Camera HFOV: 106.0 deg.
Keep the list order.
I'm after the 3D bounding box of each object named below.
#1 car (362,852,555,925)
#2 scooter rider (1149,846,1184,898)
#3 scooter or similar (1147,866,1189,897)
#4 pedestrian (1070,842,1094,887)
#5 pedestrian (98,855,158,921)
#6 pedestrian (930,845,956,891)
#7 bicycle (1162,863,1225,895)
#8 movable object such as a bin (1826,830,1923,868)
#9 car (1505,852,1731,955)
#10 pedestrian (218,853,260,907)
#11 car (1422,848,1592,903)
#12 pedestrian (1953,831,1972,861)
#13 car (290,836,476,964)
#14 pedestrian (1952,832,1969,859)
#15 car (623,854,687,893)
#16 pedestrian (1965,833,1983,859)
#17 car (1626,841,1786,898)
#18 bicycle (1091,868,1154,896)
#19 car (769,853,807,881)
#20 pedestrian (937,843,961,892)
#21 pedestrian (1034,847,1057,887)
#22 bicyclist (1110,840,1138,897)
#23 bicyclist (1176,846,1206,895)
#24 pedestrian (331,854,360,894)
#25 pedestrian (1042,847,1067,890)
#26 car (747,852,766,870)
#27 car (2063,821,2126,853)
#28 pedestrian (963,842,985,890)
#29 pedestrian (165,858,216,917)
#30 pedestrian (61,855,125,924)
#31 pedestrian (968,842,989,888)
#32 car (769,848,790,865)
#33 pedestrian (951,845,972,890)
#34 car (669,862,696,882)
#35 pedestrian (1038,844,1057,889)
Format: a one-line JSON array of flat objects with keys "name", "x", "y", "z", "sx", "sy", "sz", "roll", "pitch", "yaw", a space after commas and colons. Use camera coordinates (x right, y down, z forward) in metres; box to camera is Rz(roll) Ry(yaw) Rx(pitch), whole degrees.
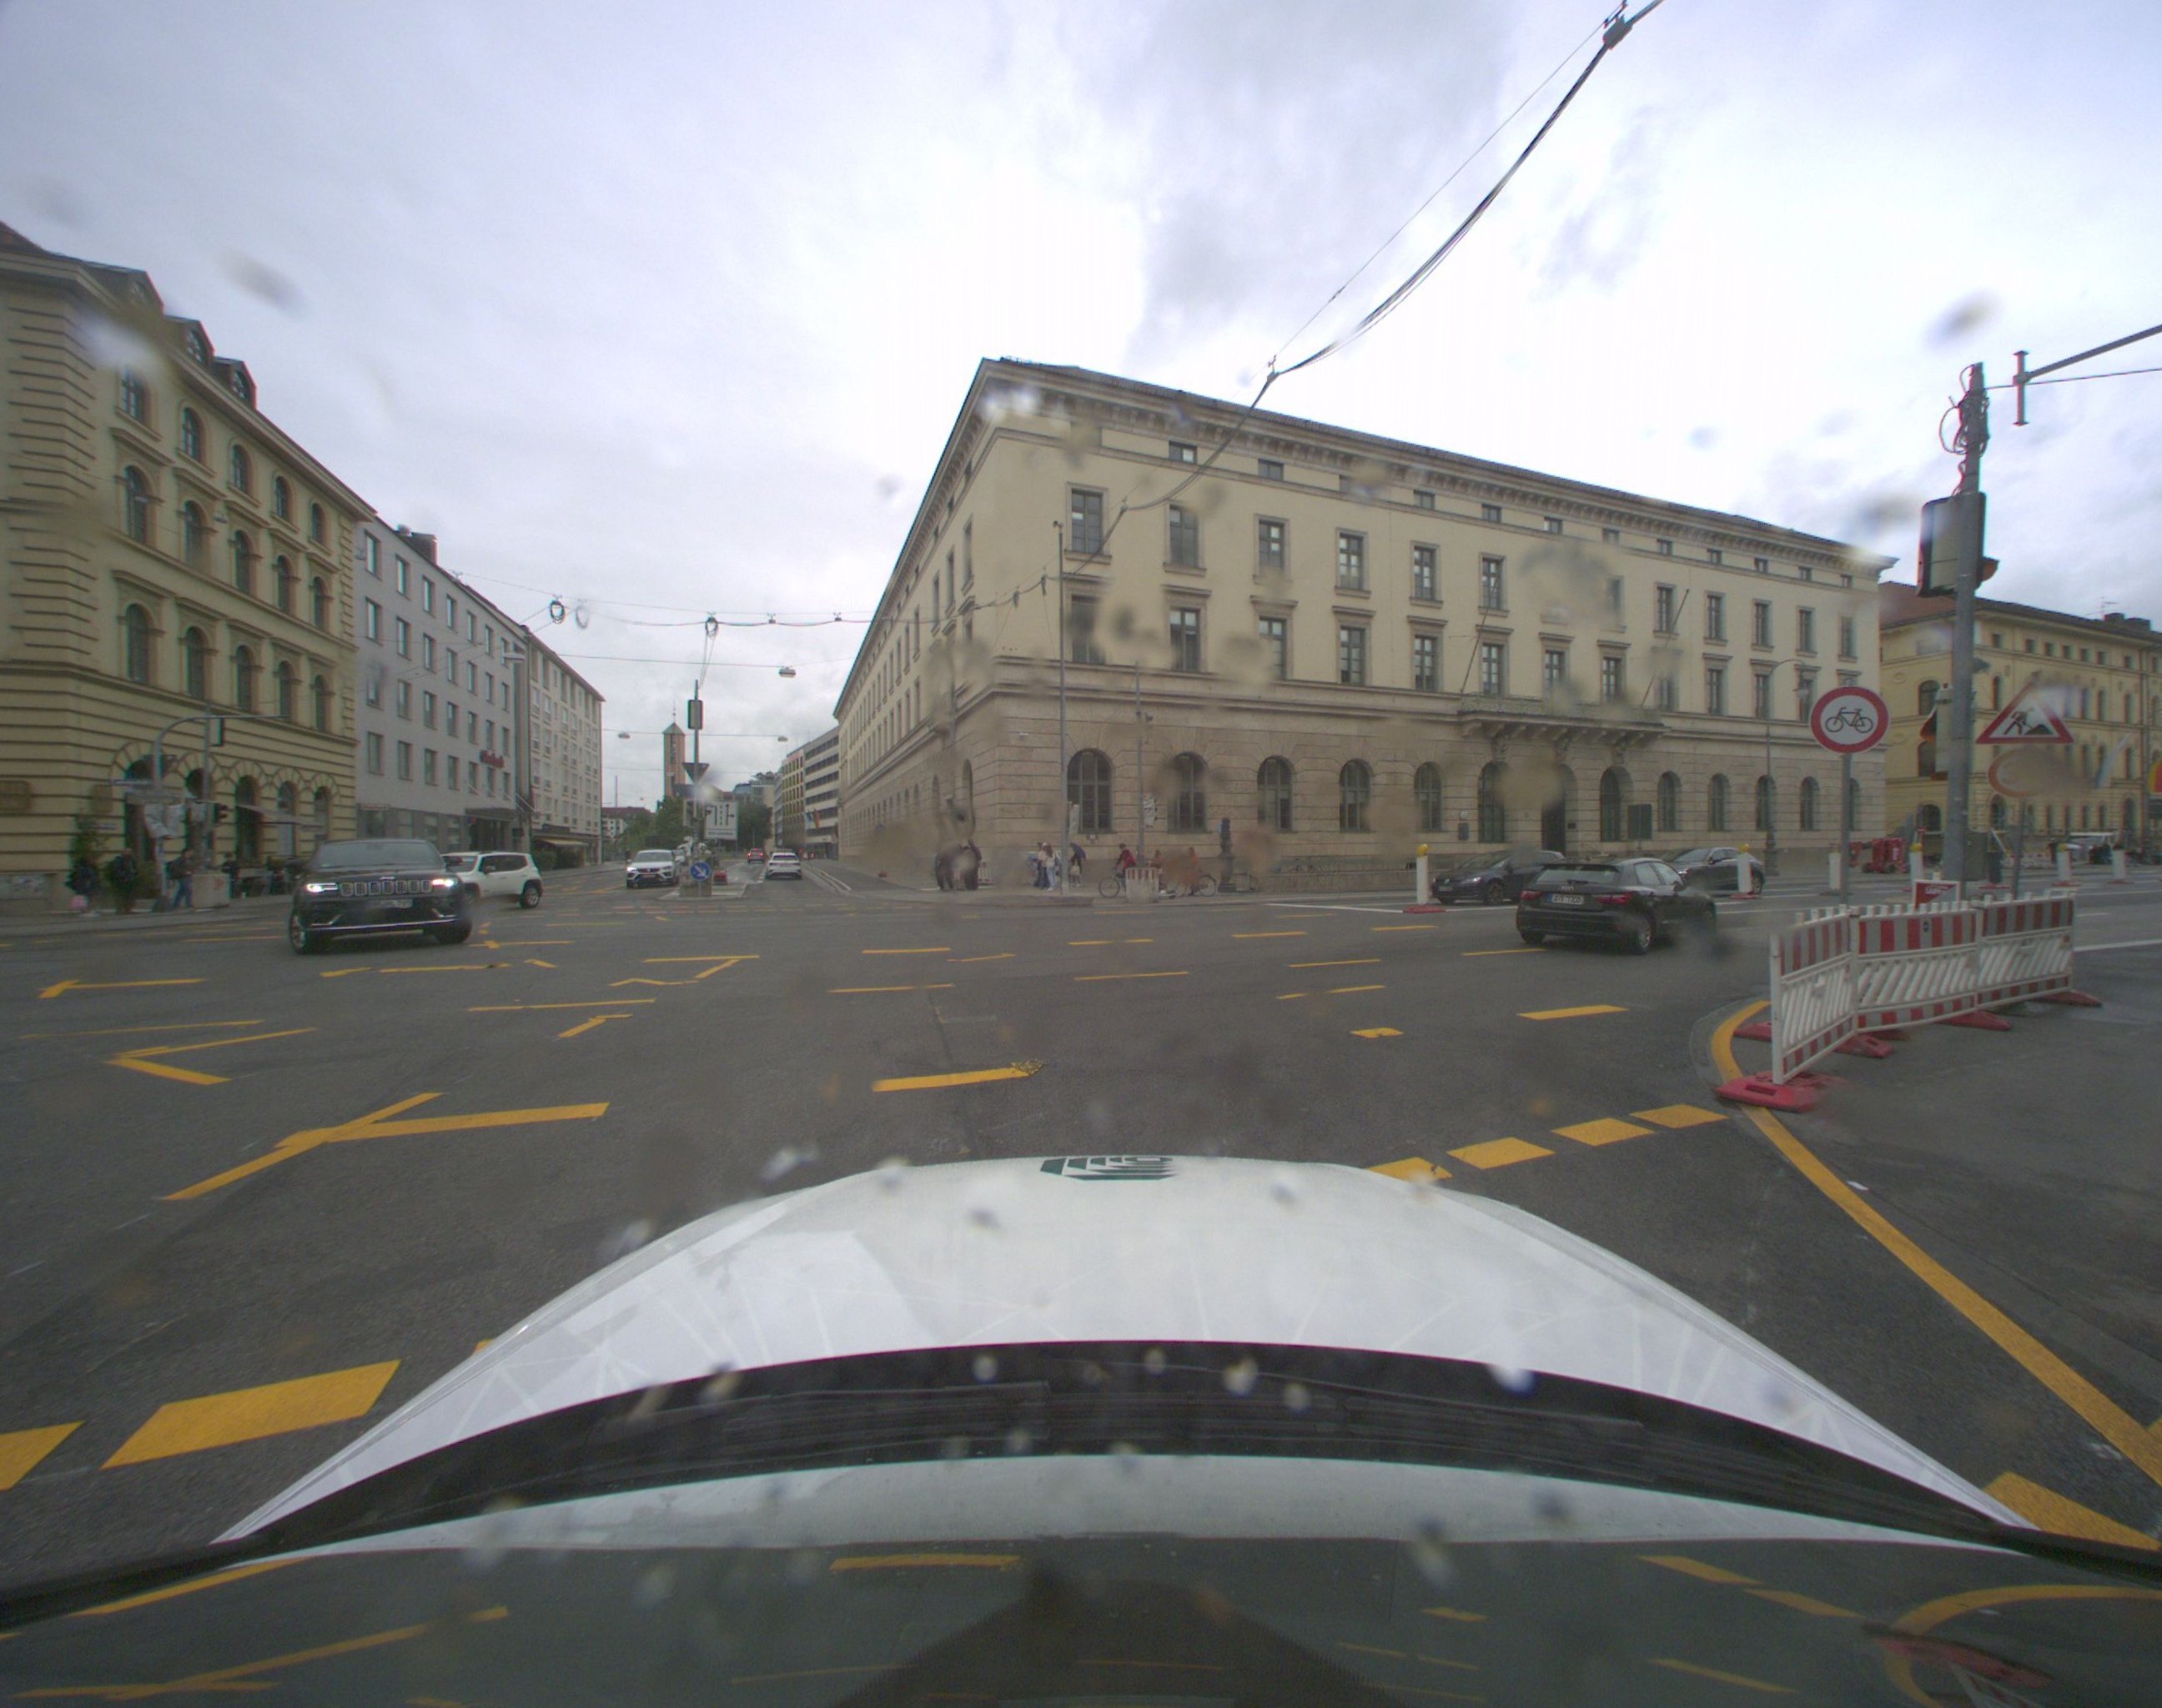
[{"name": "car", "x": -16.330, "y": 0.829, "z": 21.692, "sx": 1.787, "sy": 1.677, "sz": 4.234, "roll": -1, "pitch": 1, "yaw": 1}, {"name": "scooter rider", "x": 2.733, "y": 0.568, "z": 26.059, "sx": 0.935, "sy": 1.622, "sz": 0.588, "roll": 0, "pitch": 0, "yaw": -20}, {"name": "scooter or similar", "x": 2.770, "y": 0.883, "z": 26.078, "sx": 1.215, "sy": 0.965, "sz": 0.584, "roll": 0, "pitch": 0, "yaw": -20}, {"name": "pedestrian", "x": 0.045, "y": 0.396, "z": 31.594, "sx": 0.717, "sy": 1.694, "sz": 0.814, "roll": 0, "pitch": 0, "yaw": -20}, {"name": "pedestrian", "x": -25.918, "y": 0.910, "z": 22.154, "sx": 0.731, "sy": 1.772, "sz": 0.739, "roll": 0, "pitch": 0, "yaw": 0}, {"name": "pedestrian", "x": -5.269, "y": 0.527, "z": 31.140, "sx": 0.578, "sy": 1.755, "sz": 0.825, "roll": 0, "pitch": 0, "yaw": 38}, {"name": "bicycle", "x": 3.804, "y": 0.828, "z": 27.529, "sx": 1.964, "sy": 1.040, "sz": 0.790, "roll": 0, "pitch": 0, "yaw": -19}, {"name": "movable object such as a bin", "x": 43.911, "y": -0.270, "z": 45.051, "sx": 5.977, "sy": 2.013, "sz": 1.505, "roll": 0, "pitch": 0, "yaw": -21}, {"name": "car", "x": 8.737, "y": 0.679, "z": 13.147, "sx": 4.018, "sy": 1.388, "sz": 1.848, "roll": 0, "pitch": 1, "yaw": -37}, {"name": "pedestrian", "x": -28.139, "y": 0.850, "z": 27.223, "sx": 0.739, "sy": 1.772, "sz": 0.731, "roll": 0, "pitch": 0, "yaw": -22}, {"name": "car", "x": 11.518, "y": 0.544, "z": 22.017, "sx": 4.243, "sy": 1.388, "sz": 1.737, "roll": 0, "pitch": -1, "yaw": -22}, {"name": "pedestrian", "x": 57.933, "y": -0.540, "z": 53.531, "sx": 0.653, "sy": 1.931, "sz": 0.676, "roll": 0, "pitch": 0, "yaw": -24}, {"name": "car", "x": -11.555, "y": 0.618, "z": 13.441, "sx": 2.012, "sy": 1.734, "sz": 4.529, "roll": -2, "pitch": 1, "yaw": -43}, {"name": "pedestrian", "x": 55.560, "y": -0.529, "z": 51.449, "sx": 0.618, "sy": 1.676, "sz": 0.550, "roll": 0, "pitch": 0, "yaw": -24}, {"name": "car", "x": -18.371, "y": 0.800, "z": 35.286, "sx": 2.001, "sy": 1.524, "sz": 4.202, "roll": -1, "pitch": 1, "yaw": -22}, {"name": "pedestrian", "x": 55.813, "y": -0.498, "z": 50.920, "sx": 0.618, "sy": 1.652, "sz": 0.609, "roll": 0, "pitch": 0, "yaw": -24}, {"name": "car", "x": 19.127, "y": 0.454, "z": 24.926, "sx": 4.579, "sy": 1.567, "sz": 1.778, "roll": -1, "pitch": -2, "yaw": -22}, {"name": "bicycle", "x": 1.381, "y": 0.926, "z": 26.913, "sx": 1.978, "sy": 0.879, "sz": 0.657, "roll": 0, "pitch": 0, "yaw": -19}, {"name": "car", "x": -16.094, "y": 0.654, "z": 44.583, "sx": 1.820, "sy": 1.424, "sz": 4.420, "roll": 0, "pitch": 0, "yaw": -22}, {"name": "pedestrian", "x": -4.814, "y": 0.486, "z": 29.745, "sx": 0.816, "sy": 1.755, "sz": 0.678, "roll": 0, "pitch": 0, "yaw": -5}, {"name": "pedestrian", "x": -1.396, "y": 0.498, "z": 31.721, "sx": 0.667, "sy": 1.527, "sz": 0.814, "roll": 0, "pitch": 0, "yaw": -20}, {"name": "bicyclist", "x": 1.418, "y": 0.471, "z": 26.921, "sx": 0.746, "sy": 1.842, "sz": 0.656, "roll": 0, "pitch": 0, "yaw": -19}, {"name": "bicyclist", "x": 3.716, "y": 0.543, "z": 27.497, "sx": 0.746, "sy": 1.615, "sz": 0.790, "roll": 0, "pitch": 0, "yaw": -19}, {"name": "pedestrian", "x": -33.008, "y": 0.885, "z": 36.558, "sx": 0.739, "sy": 1.772, "sz": 0.731, "roll": 0, "pitch": 0, "yaw": -22}, {"name": "pedestrian", "x": -0.973, "y": 0.518, "z": 29.807, "sx": 0.818, "sy": 1.557, "sz": 0.664, "roll": 0, "pitch": 0, "yaw": -14}, {"name": "car", "x": -37.569, "y": 0.747, "z": 94.298, "sx": 2.001, "sy": 2.013, "sz": 3.971, "roll": -1, "pitch": 1, "yaw": -22}, {"name": "car", "x": 74.040, "y": -1.203, "z": 59.476, "sx": 4.001, "sy": 2.288, "sz": 1.732, "roll": 0, "pitch": 0, "yaw": -21}, {"name": "pedestrian", "x": -3.995, "y": 0.437, "z": 30.453, "sx": 0.580, "sy": 1.755, "sz": 0.822, "roll": 0, "pitch": 0, "yaw": 10}, {"name": "pedestrian", "x": -27.256, "y": 1.013, "z": 24.948, "sx": 0.736, "sy": 1.772, "sz": 0.734, "roll": 0, "pitch": 0, "yaw": -7}, {"name": "pedestrian", "x": -25.919, "y": 0.919, "z": 21.372, "sx": 0.731, "sy": 1.772, "sz": 0.760, "roll": 0, "pitch": 0, "yaw": 0}, {"name": "pedestrian", "x": -3.922, "y": 0.404, "z": 31.255, "sx": 0.580, "sy": 1.755, "sz": 0.822, "roll": 0, "pitch": 0, "yaw": 10}, {"name": "car", "x": -29.959, "y": 0.271, "z": 80.839, "sx": 1.872, "sy": 1.601, "sz": 3.823, "roll": -1, "pitch": 1, "yaw": -22}, {"name": "pedestrian", "x": -4.687, "y": 0.510, "z": 31.975, "sx": 0.816, "sy": 1.755, "sz": 0.584, "roll": 0, "pitch": 0, "yaw": -7}, {"name": "car", "x": -39.186, "y": 1.753, "z": 80.081, "sx": 2.001, "sy": 1.734, "sz": 4.202, "roll": -1, "pitch": 1, "yaw": -21}, {"name": "pedestrian", "x": -1.249, "y": 0.448, "z": 30.499, "sx": 0.616, "sy": 1.671, "sz": 0.539, "roll": 0, "pitch": 0, "yaw": -14}]
